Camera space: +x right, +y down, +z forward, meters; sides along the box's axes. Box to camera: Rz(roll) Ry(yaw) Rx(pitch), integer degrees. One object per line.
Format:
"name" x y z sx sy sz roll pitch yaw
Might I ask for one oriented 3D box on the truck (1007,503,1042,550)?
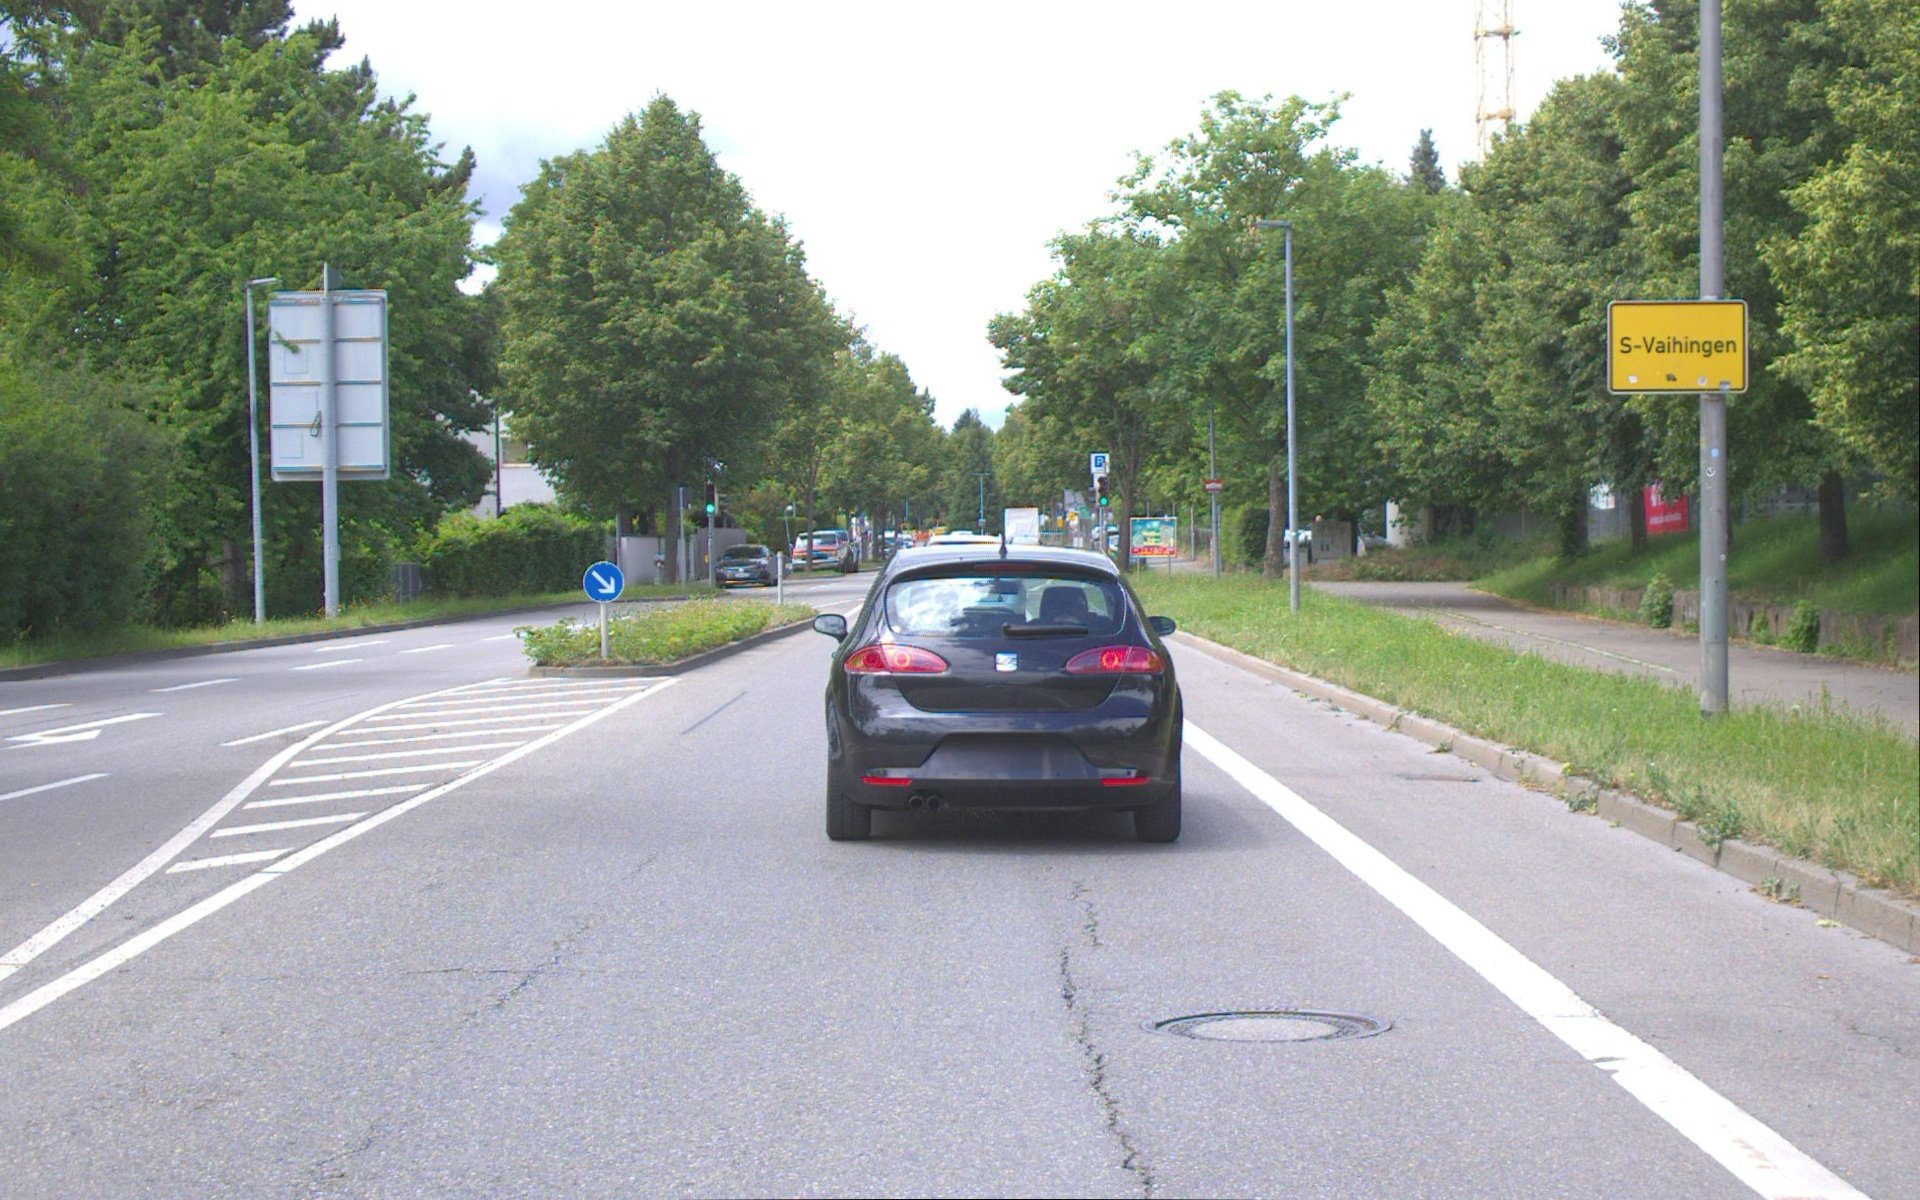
"truck" 4.396 -5.012 234.899 2.279 3.093 8.511 1 1 1

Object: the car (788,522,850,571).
"car" -5.846 -2.246 143.164 2.100 1.890 5.784 -2 1 2

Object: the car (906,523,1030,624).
"car" 0.134 -0.425 53.654 1.846 1.504 3.812 1 1 0

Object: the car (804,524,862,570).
"car" -5.542 -2.350 150.605 2.100 1.890 5.784 -2 1 2

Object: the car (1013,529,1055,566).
"car" 3.429 -2.433 158.606 1.881 1.683 4.214 -1 1 2

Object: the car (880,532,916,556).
"car" -4.183 -3.823 233.198 2.100 1.501 5.784 -2 1 2

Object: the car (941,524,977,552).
"car" -0.030 -3.837 210.990 1.875 1.629 4.340 -2 1 4

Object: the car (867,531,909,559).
"car" -4.177 -3.208 200.359 2.100 1.501 5.784 -2 1 2

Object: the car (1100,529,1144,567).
"car" 6.448 -2.085 137.177 1.688 1.485 3.355 -1 1 2

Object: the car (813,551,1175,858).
"car" 0.167 0.456 17.853 1.663 1.396 3.812 1 1 0

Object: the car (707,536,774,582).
"car" -7.255 -1.374 113.977 1.718 1.390 4.801 -2 1 2
